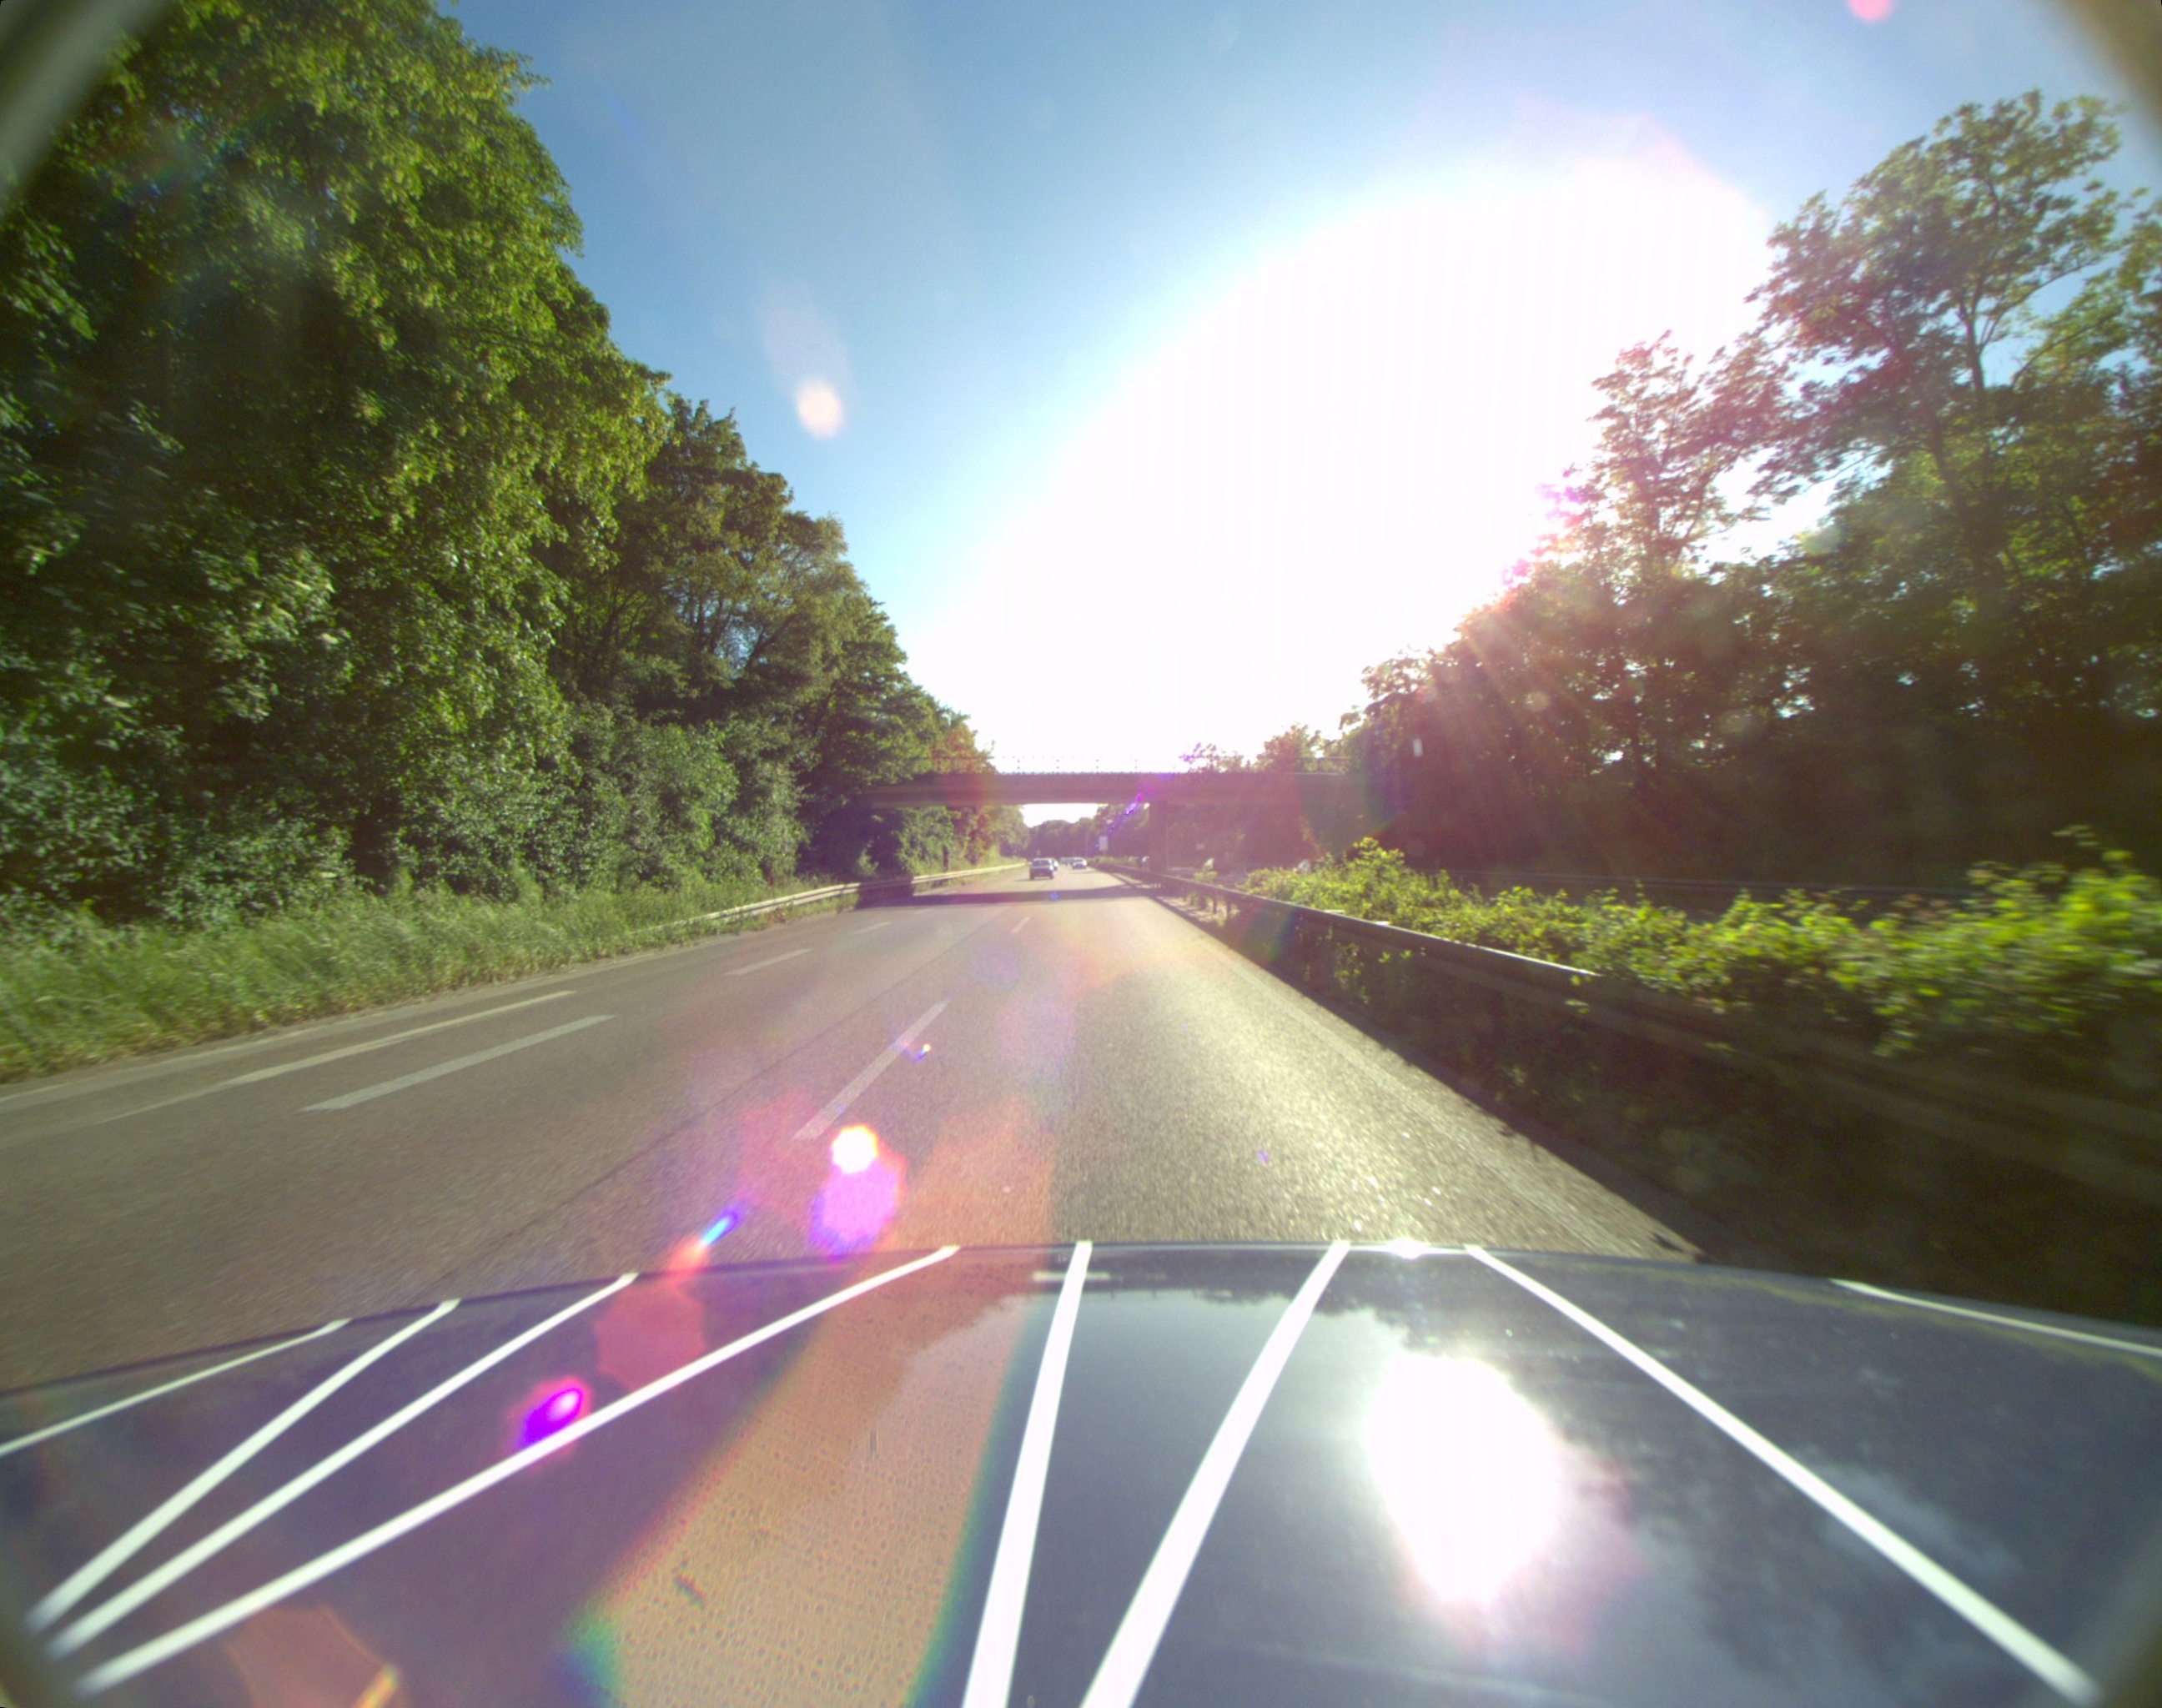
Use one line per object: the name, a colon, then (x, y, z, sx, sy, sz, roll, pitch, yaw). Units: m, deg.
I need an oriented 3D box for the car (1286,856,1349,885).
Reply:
car: (12.859, 0.873, 41.677, 1.966, 1.441, 4.583, -2, 0, 0)

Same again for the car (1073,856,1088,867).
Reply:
car: (-0.104, 0.951, 101.724, 1.904, 1.453, 4.355, -1, 0, -1)

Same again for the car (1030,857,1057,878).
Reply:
car: (-2.830, 1.018, 58.340, 1.801, 1.453, 4.355, -2, 0, 0)

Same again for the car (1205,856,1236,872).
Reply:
car: (12.712, 0.888, 69.684, 1.966, 1.441, 4.706, 0, 0, 0)

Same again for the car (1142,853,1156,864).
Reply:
car: (11.547, 0.766, 129.029, 1.965, 1.649, 5.040, -2, 0, 1)

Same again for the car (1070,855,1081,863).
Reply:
car: (-1.021, 0.947, 148.051, 1.801, 1.453, 4.400, 0, 0, -5)

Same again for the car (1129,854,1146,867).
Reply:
car: (7.974, 0.930, 107.342, 1.966, 1.714, 4.591, 0, 0, 0)

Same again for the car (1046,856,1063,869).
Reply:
car: (-3.271, 1.051, 94.276, 1.802, 1.453, 4.353, -1, 0, -6)
